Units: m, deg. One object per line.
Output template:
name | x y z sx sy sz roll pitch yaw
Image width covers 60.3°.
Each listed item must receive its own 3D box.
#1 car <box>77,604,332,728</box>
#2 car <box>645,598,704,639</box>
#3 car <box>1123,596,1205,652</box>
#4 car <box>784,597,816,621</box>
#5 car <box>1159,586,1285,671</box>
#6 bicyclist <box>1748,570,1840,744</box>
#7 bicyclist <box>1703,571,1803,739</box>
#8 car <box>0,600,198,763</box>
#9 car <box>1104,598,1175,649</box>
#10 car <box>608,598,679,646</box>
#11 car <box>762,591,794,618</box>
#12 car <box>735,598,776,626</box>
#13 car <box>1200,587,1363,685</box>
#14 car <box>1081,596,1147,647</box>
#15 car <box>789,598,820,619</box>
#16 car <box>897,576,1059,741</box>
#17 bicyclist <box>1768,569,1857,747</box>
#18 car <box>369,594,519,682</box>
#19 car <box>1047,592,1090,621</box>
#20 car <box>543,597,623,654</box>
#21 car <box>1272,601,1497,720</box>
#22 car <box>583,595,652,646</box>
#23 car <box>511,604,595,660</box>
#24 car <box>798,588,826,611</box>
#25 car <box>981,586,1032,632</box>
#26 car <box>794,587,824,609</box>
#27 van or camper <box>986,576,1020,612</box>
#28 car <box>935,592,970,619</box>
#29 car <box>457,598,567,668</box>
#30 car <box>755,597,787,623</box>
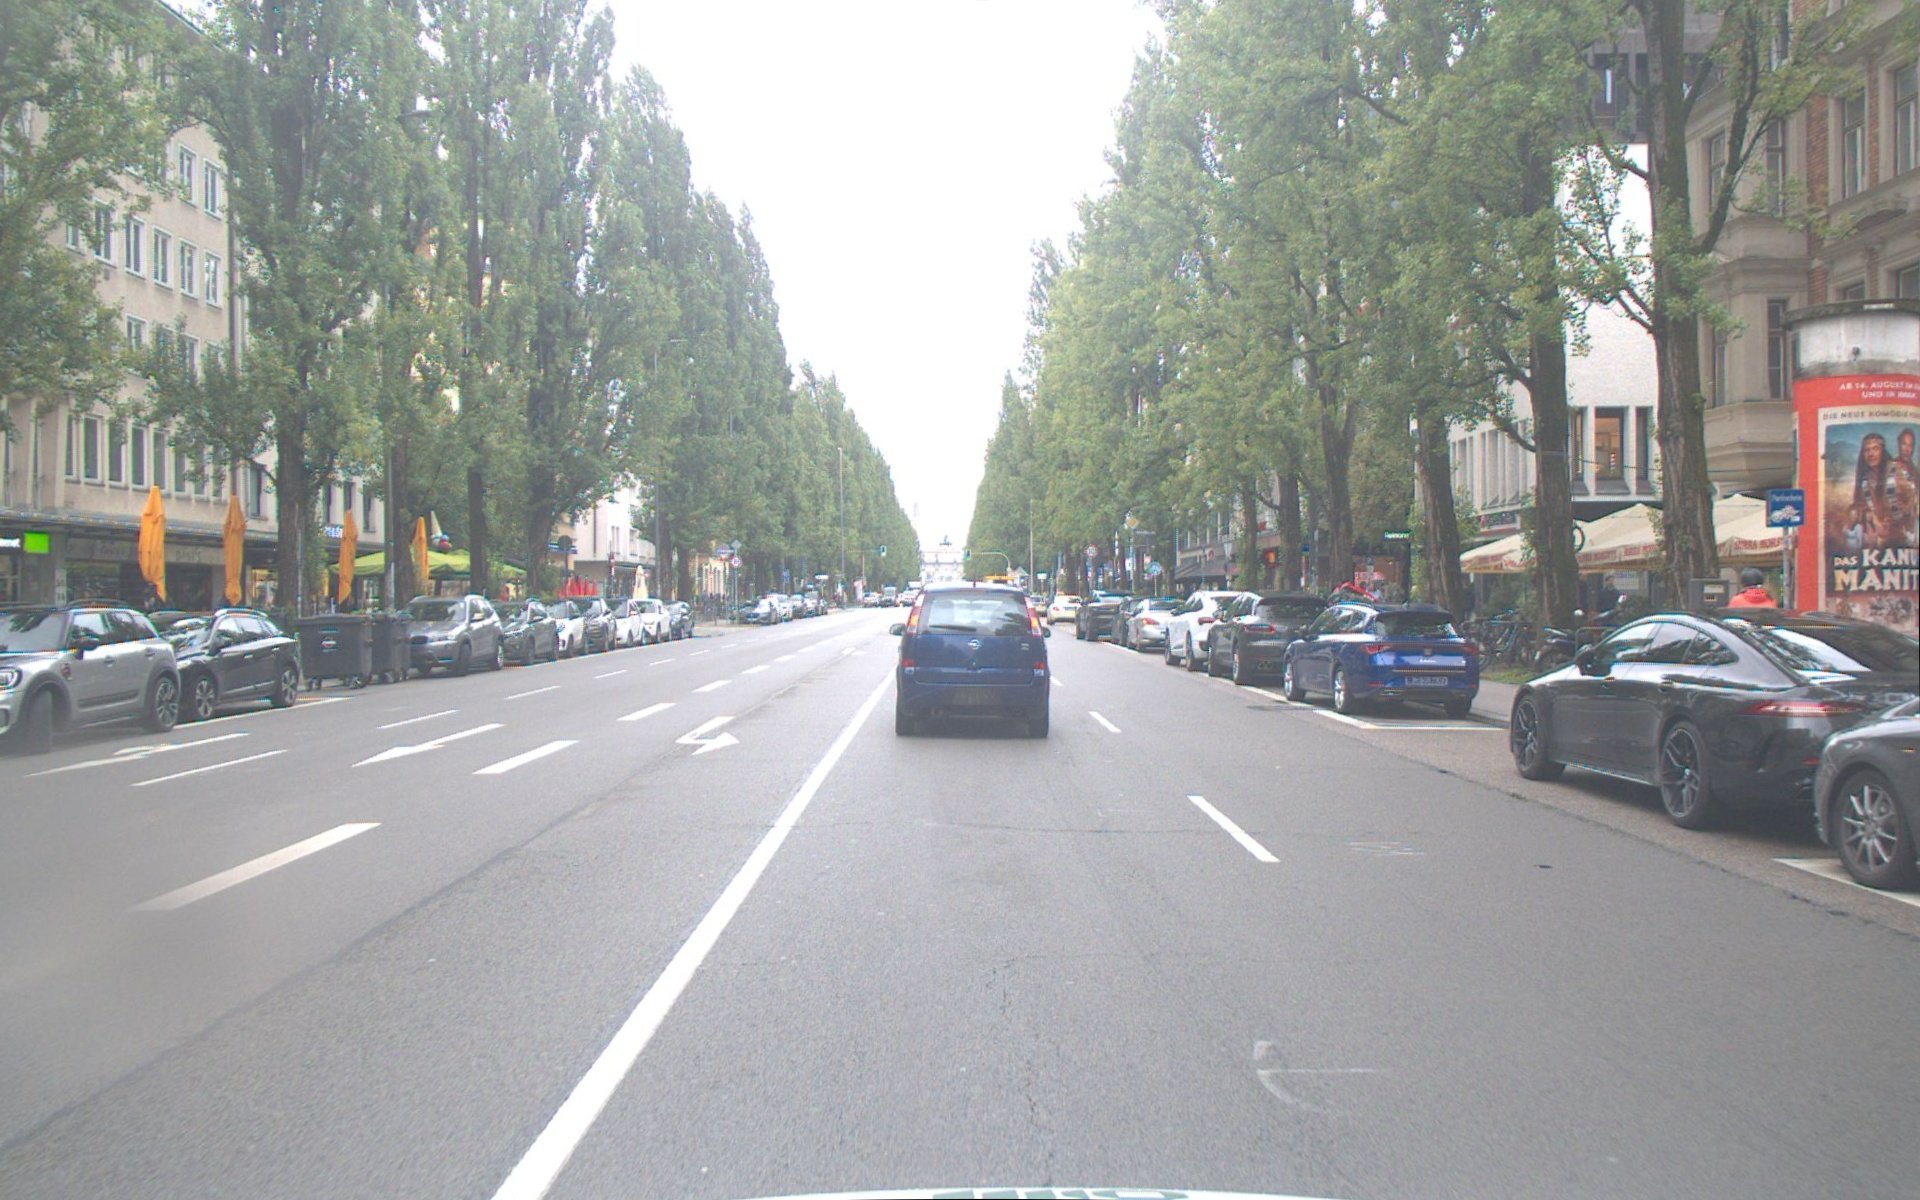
car | -10.789 0.877 23.975 1.629 1.530 4.313 -3 0 0
car | -10.844 0.688 62.912 1.553 1.472 3.391 0 0 2
car | 5.514 0.617 45.142 1.636 1.431 4.126 1 0 -1
car | -10.945 0.613 113.172 1.922 1.557 3.998 -1 0 -2
car | 5.442 0.556 34.899 1.790 1.649 4.746 1 0 -1
bicyclist | 7.887 0.530 15.658 0.609 1.616 0.481 -1 0 -1
bicyclist | 7.871 0.532 16.441 0.609 1.616 0.753 -1 0 -1
car | -10.446 0.850 18.669 1.746 1.603 4.132 -2 0 -1
car | 5.388 0.689 49.980 1.647 1.439 3.582 1 0 -1
car | -10.966 0.722 57.542 1.798 1.573 4.084 -1 0 -3
car | -11.121 0.271 101.298 1.620 1.589 3.457 -1 0 -1
car | -11.138 0.642 90.208 1.793 1.445 3.810 -1 0 -1
car | 5.651 0.587 29.619 1.953 1.592 4.482 -1 0 -1
car | 5.091 0.684 55.054 1.761 1.621 4.104 1 0 0
car | -11.154 0.611 118.964 1.922 1.424 3.778 -1 0 -1
car | 0.136 0.586 18.887 1.647 1.670 3.999 0 0 -1
bicyclist | 7.894 0.529 15.324 0.609 1.616 0.391 -1 0 -1
car | -11.049 0.759 35.771 1.827 1.683 4.614 -3 0 -2
car | 5.372 0.293 82.136 1.858 1.386 3.899 -1 0 0
car | -11.189 0.731 49.271 1.805 1.592 4.174 -1 0 -6
car | 5.700 0.750 22.778 1.715 1.430 4.461 -1 0 -3
car | -11.083 0.644 53.666 1.540 1.561 2.923 -1 0 2
car | -11.073 0.848 45.160 1.598 1.453 2.982 -1 0 -2
car | -11.594 -0.052 129.825 1.953 1.691 3.999 -1 0 -1
car | 1.678 0.335 60.494 1.671 1.601 3.999 1 0 -1
car | -11.265 -0.144 123.282 1.922 1.576 3.778 -1 0 -1
van or camper | 3.307 -0.473 127.518 2.426 2.626 5.844 -1 0 0
car | -0.460 0.321 96.071 1.953 1.524 3.999 -1 0 -1
car | -10.923 0.768 40.548 1.663 1.577 4.081 -1 0 -2
car | -11.020 0.552 96.443 1.515 1.478 3.457 -1 0 -1
